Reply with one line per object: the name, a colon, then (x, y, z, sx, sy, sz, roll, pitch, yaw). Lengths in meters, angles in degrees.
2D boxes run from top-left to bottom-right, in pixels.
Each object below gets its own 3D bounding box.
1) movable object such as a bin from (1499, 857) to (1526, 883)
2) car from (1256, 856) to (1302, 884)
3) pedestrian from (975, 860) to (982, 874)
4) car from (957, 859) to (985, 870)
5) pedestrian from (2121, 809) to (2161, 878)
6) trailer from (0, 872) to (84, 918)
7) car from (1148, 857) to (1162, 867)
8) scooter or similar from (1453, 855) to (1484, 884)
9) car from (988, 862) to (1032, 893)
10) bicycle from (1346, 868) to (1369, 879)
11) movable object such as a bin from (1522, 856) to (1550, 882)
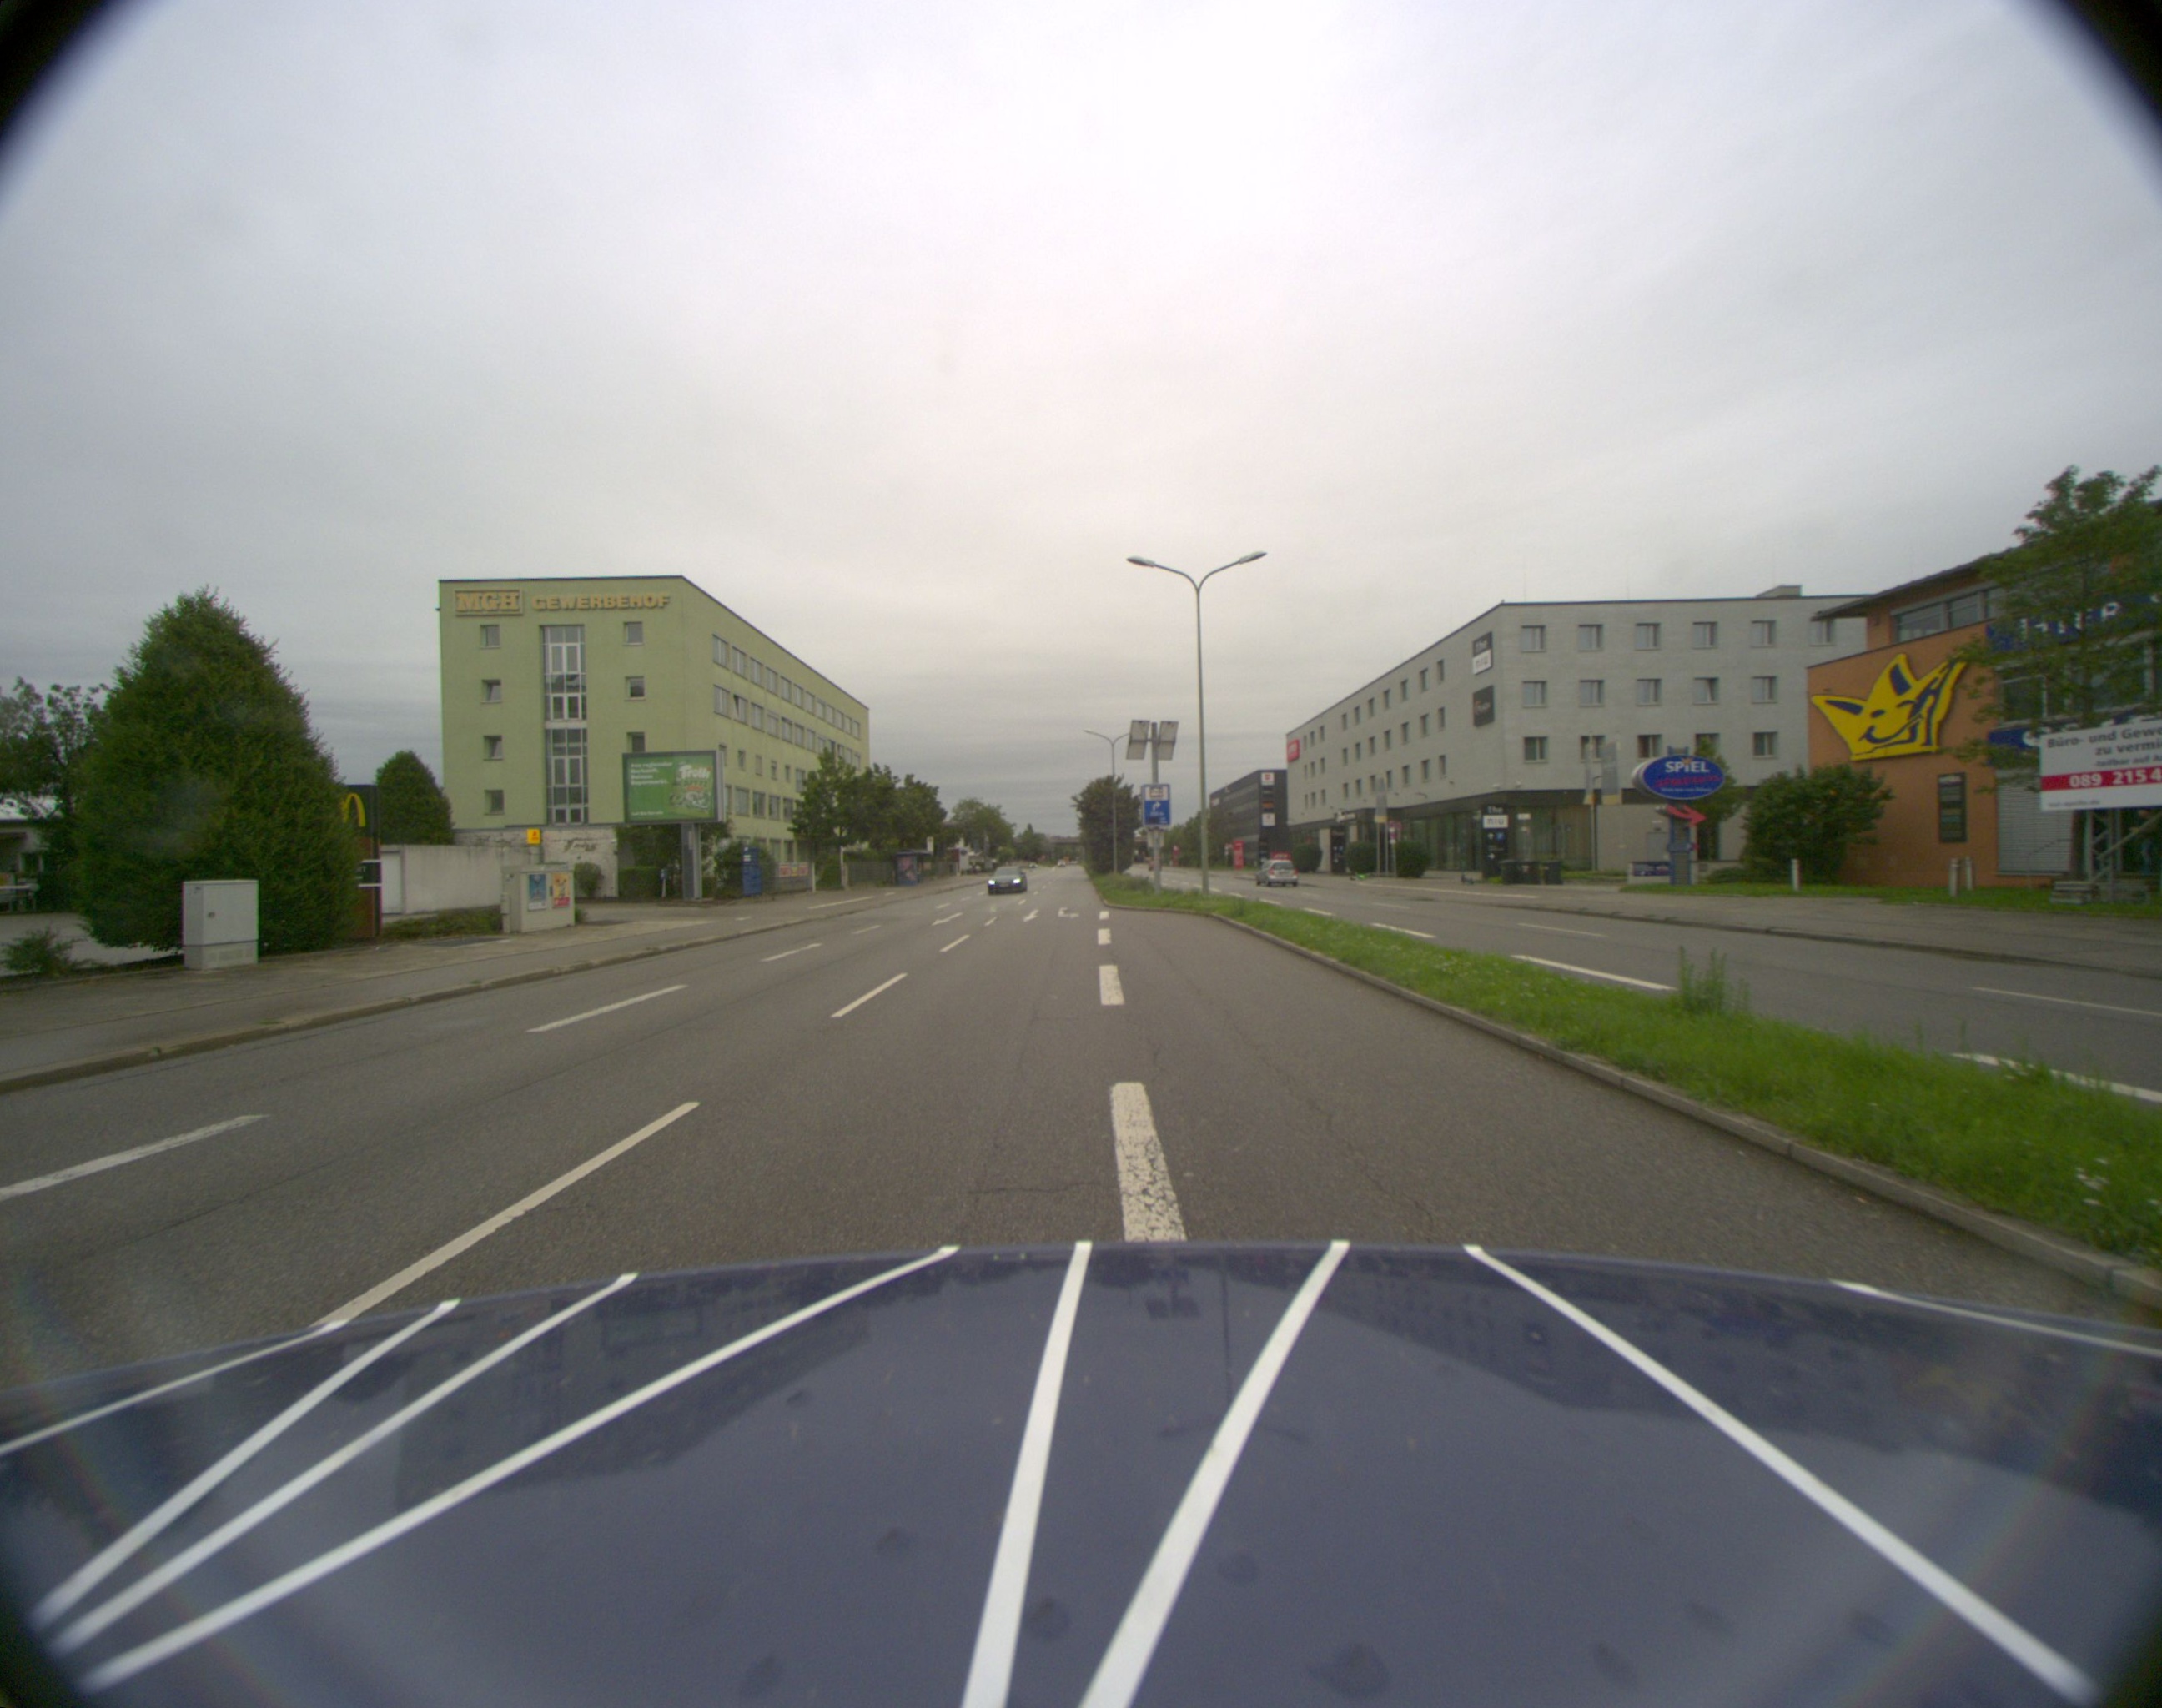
movable object such as a bin: (18.457, 0.679, 32.482, 0.739, 1.072, 0.655, -2, 0, 1)
car: (11.799, 0.924, 45.580, 1.818, 1.548, 4.027, 0, 0, 2)
pedestrian: (-13.184, 1.651, 97.497, 0.683, 1.810, 0.688, -2, 0, -1)
car: (-17.355, 1.704, 120.217, 3.991, 1.500, 1.804, -2, 0, 21)
pedestrian: (26.942, -0.275, 19.090, 0.660, 1.702, 0.662, -2, 0, -3)
trailer: (-41.975, 1.634, 29.662, 3.807, 1.640, 1.635, -2, 0, -1)
car: (11.785, 1.195, 120.763, 1.740, 1.539, 4.304, 0, 0, 0)
scooter or similar: (17.793, 0.713, 34.923, 0.587, 1.270, 1.404, -6, 0, 1)
car: (-3.893, 1.274, 42.142, 1.916, 1.498, 4.439, -2, 0, 1)
bicycle: (16.527, 1.145, 45.394, 0.721, 0.545, 1.732, -5, 0, 0)
movable object such as a bin: (19.047, 0.629, 31.788, 0.739, 1.072, 0.655, -2, 0, 1)
